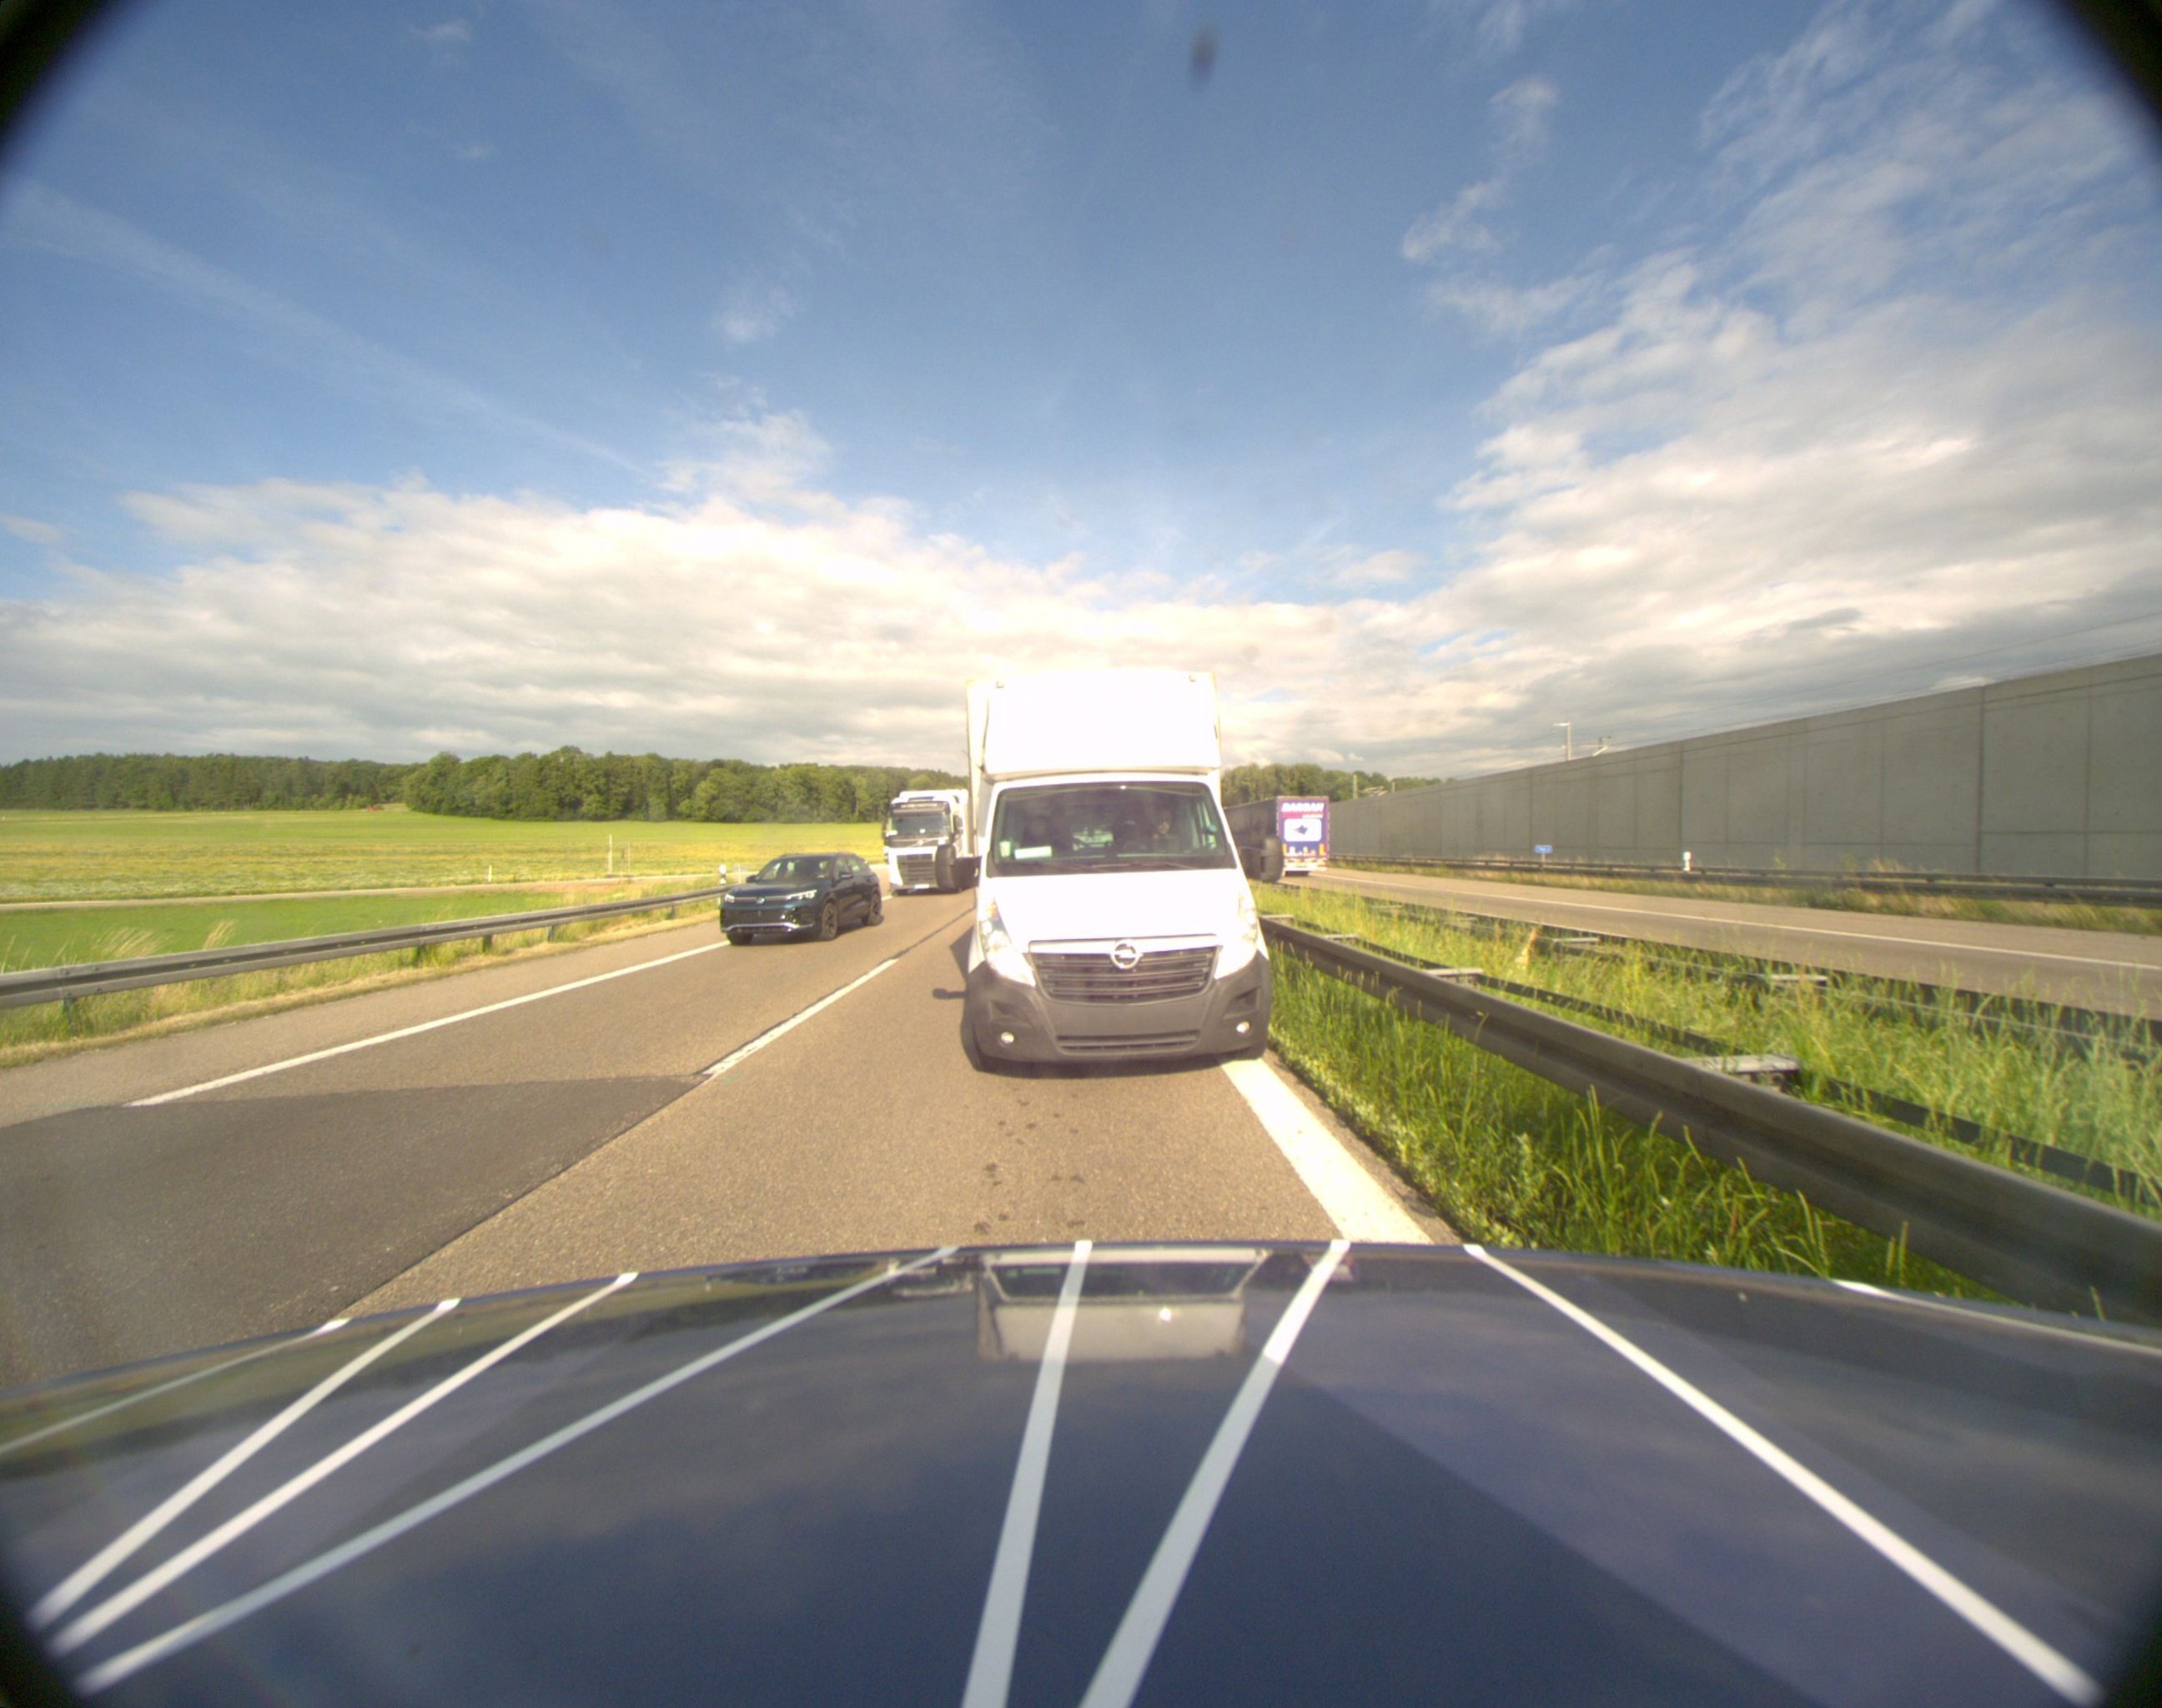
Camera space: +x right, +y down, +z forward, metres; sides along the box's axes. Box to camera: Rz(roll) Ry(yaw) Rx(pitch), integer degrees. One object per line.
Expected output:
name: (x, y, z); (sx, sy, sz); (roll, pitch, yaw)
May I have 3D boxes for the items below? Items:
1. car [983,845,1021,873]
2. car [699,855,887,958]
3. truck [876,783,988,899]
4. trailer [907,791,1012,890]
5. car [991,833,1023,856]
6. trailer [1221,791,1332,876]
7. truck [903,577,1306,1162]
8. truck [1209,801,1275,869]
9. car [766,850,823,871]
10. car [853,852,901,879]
car: (-5.064, 0.299, 49.283); (1.998, 1.647, 3.999); (-2, 1, 0)
car: (-5.401, 0.900, 14.934); (1.998, 1.587, 4.118); (-2, 1, 1)
truck: (-5.600, -0.508, 29.833); (2.842, 3.967, 6.500); (-2, 1, 1)
trailer: (-5.545, -0.637, 37.281); (2.826, 3.959, 12.126); (-2, 1, 1)
car: (-5.677, -0.726, 58.696); (1.998, 1.647, 3.999); (-2, 1, 0)
trailer: (10.719, -1.108, 43.383); (2.661, 4.057, 12.392); (-2, 1, -2)
truck: (0.198, 0.035, 8.002); (2.059, 3.088, 7.802); (-2, 1, 1)
truck: (10.546, -1.225, 50.517); (2.644, 4.074, 7.000); (-2, 1, -1)
car: (-24.281, 0.549, 64.381); (4.007, 1.609, 1.994); (-3, 2, -42)
car: (-13.325, 0.723, 49.893); (1.999, 1.537, 5.078); (-2, 1, -4)
